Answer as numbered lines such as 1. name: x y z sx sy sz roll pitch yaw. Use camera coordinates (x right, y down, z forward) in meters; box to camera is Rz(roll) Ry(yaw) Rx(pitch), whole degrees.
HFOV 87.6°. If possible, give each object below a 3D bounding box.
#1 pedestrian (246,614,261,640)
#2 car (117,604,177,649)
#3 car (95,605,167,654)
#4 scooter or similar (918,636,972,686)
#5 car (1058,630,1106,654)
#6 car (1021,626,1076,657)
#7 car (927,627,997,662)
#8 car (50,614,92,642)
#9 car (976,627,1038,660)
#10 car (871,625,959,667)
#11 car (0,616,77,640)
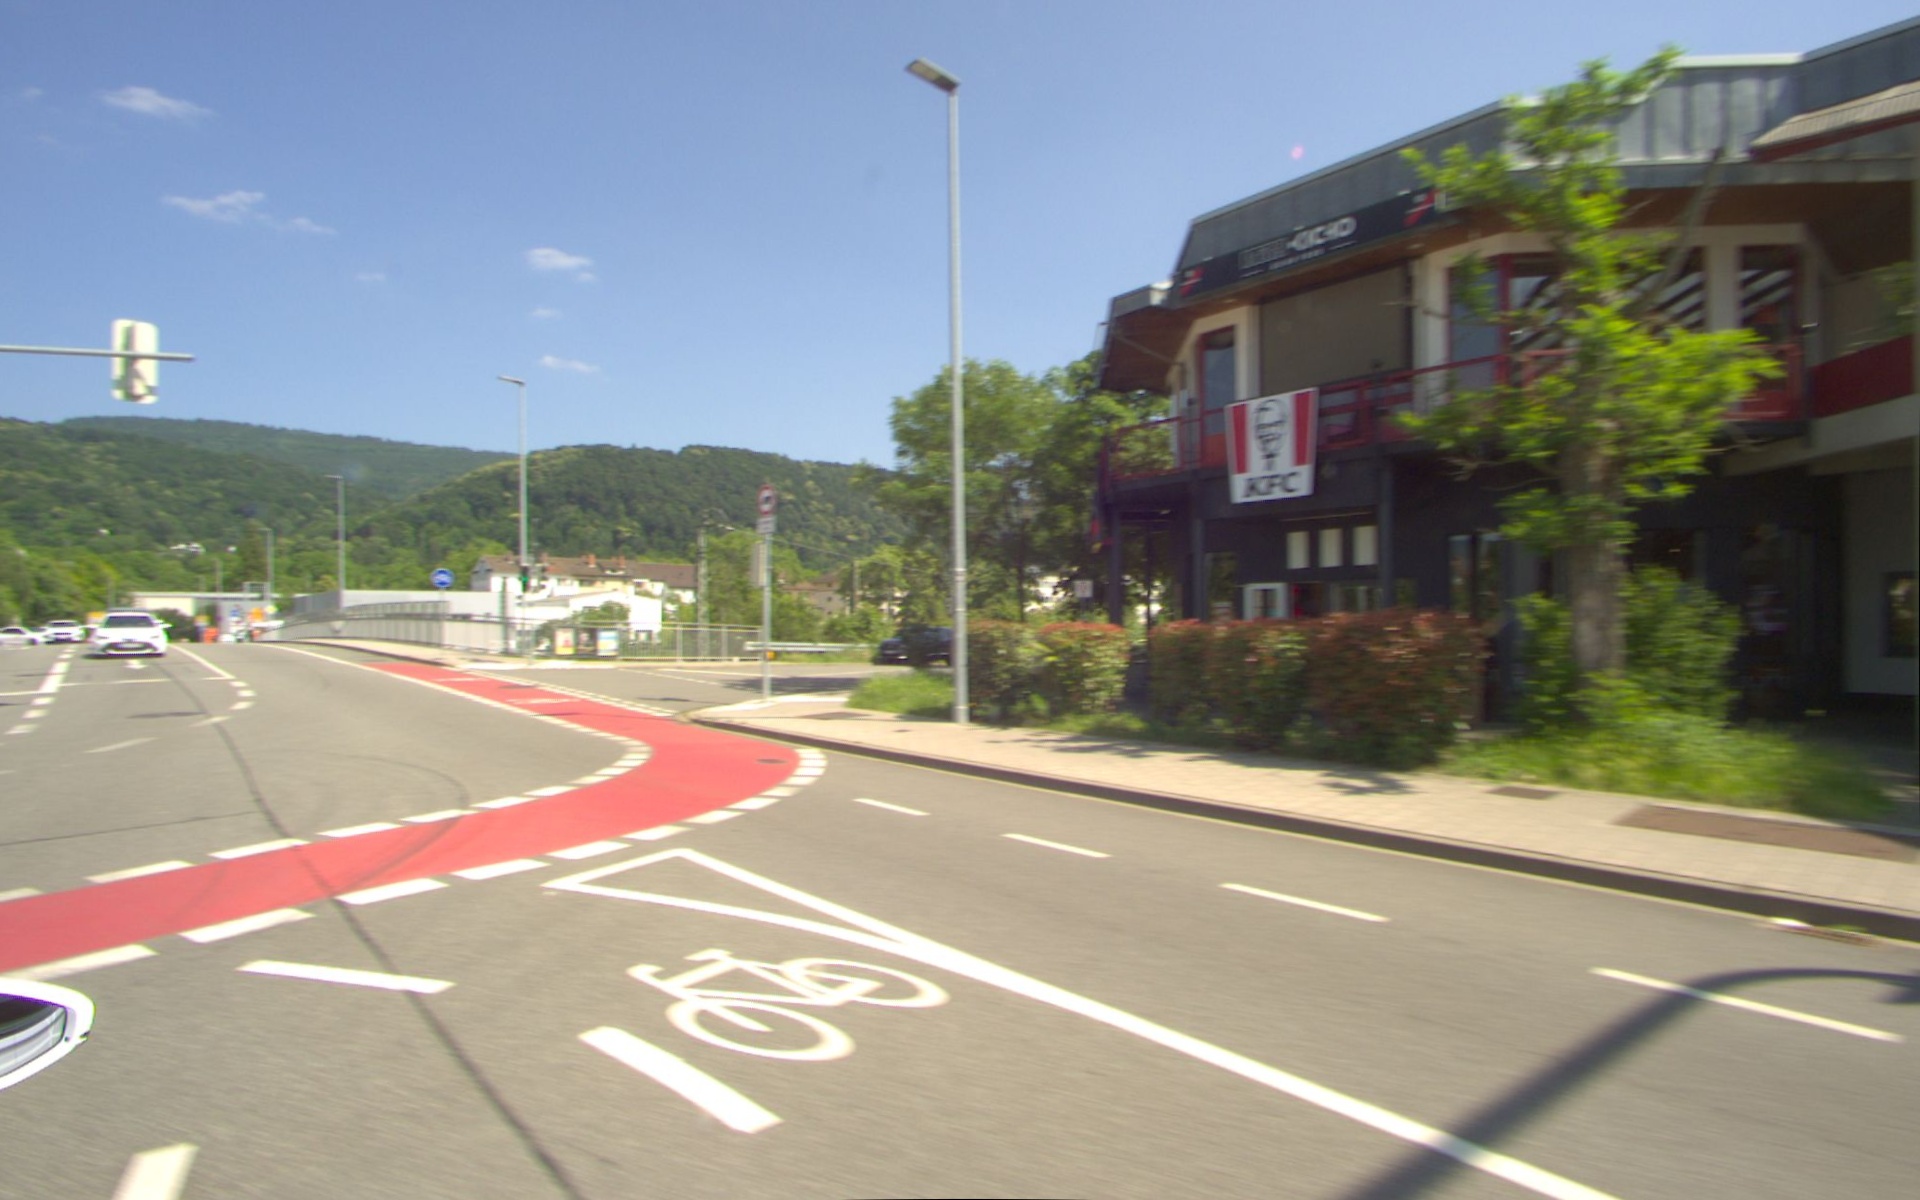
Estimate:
1. pedestrian: -57.320 2.175 81.224 0.849 2.040 1.145 0 0 -41
2. car: -31.294 1.003 38.539 1.717 1.647 4.405 0 -1 -40
3. car: -27.251 0.953 32.943 1.717 1.488 4.374 1 -1 -40
4. scooter or similar: -0.350 1.428 23.836 0.423 1.138 1.439 0 -1 43
5. car: 7.380 2.499 60.266 1.647 1.334 3.985 0 -1 27
6. car: 4.952 2.265 55.532 1.647 1.656 3.984 0 -1 28
7. car: 0.141 2.034 46.578 1.647 1.552 3.985 0 -1 27
8. car: -57.360 1.773 64.629 1.980 1.741 4.590 1 -1 -42
9. car: 2.408 2.167 50.885 1.647 1.552 3.985 0 -1 27
10. car: -1.840 1.912 42.354 1.803 1.648 4.219 0 -1 29
11. car: -67.555 2.045 72.732 4.963 1.741 2.000 0 -1 -1
